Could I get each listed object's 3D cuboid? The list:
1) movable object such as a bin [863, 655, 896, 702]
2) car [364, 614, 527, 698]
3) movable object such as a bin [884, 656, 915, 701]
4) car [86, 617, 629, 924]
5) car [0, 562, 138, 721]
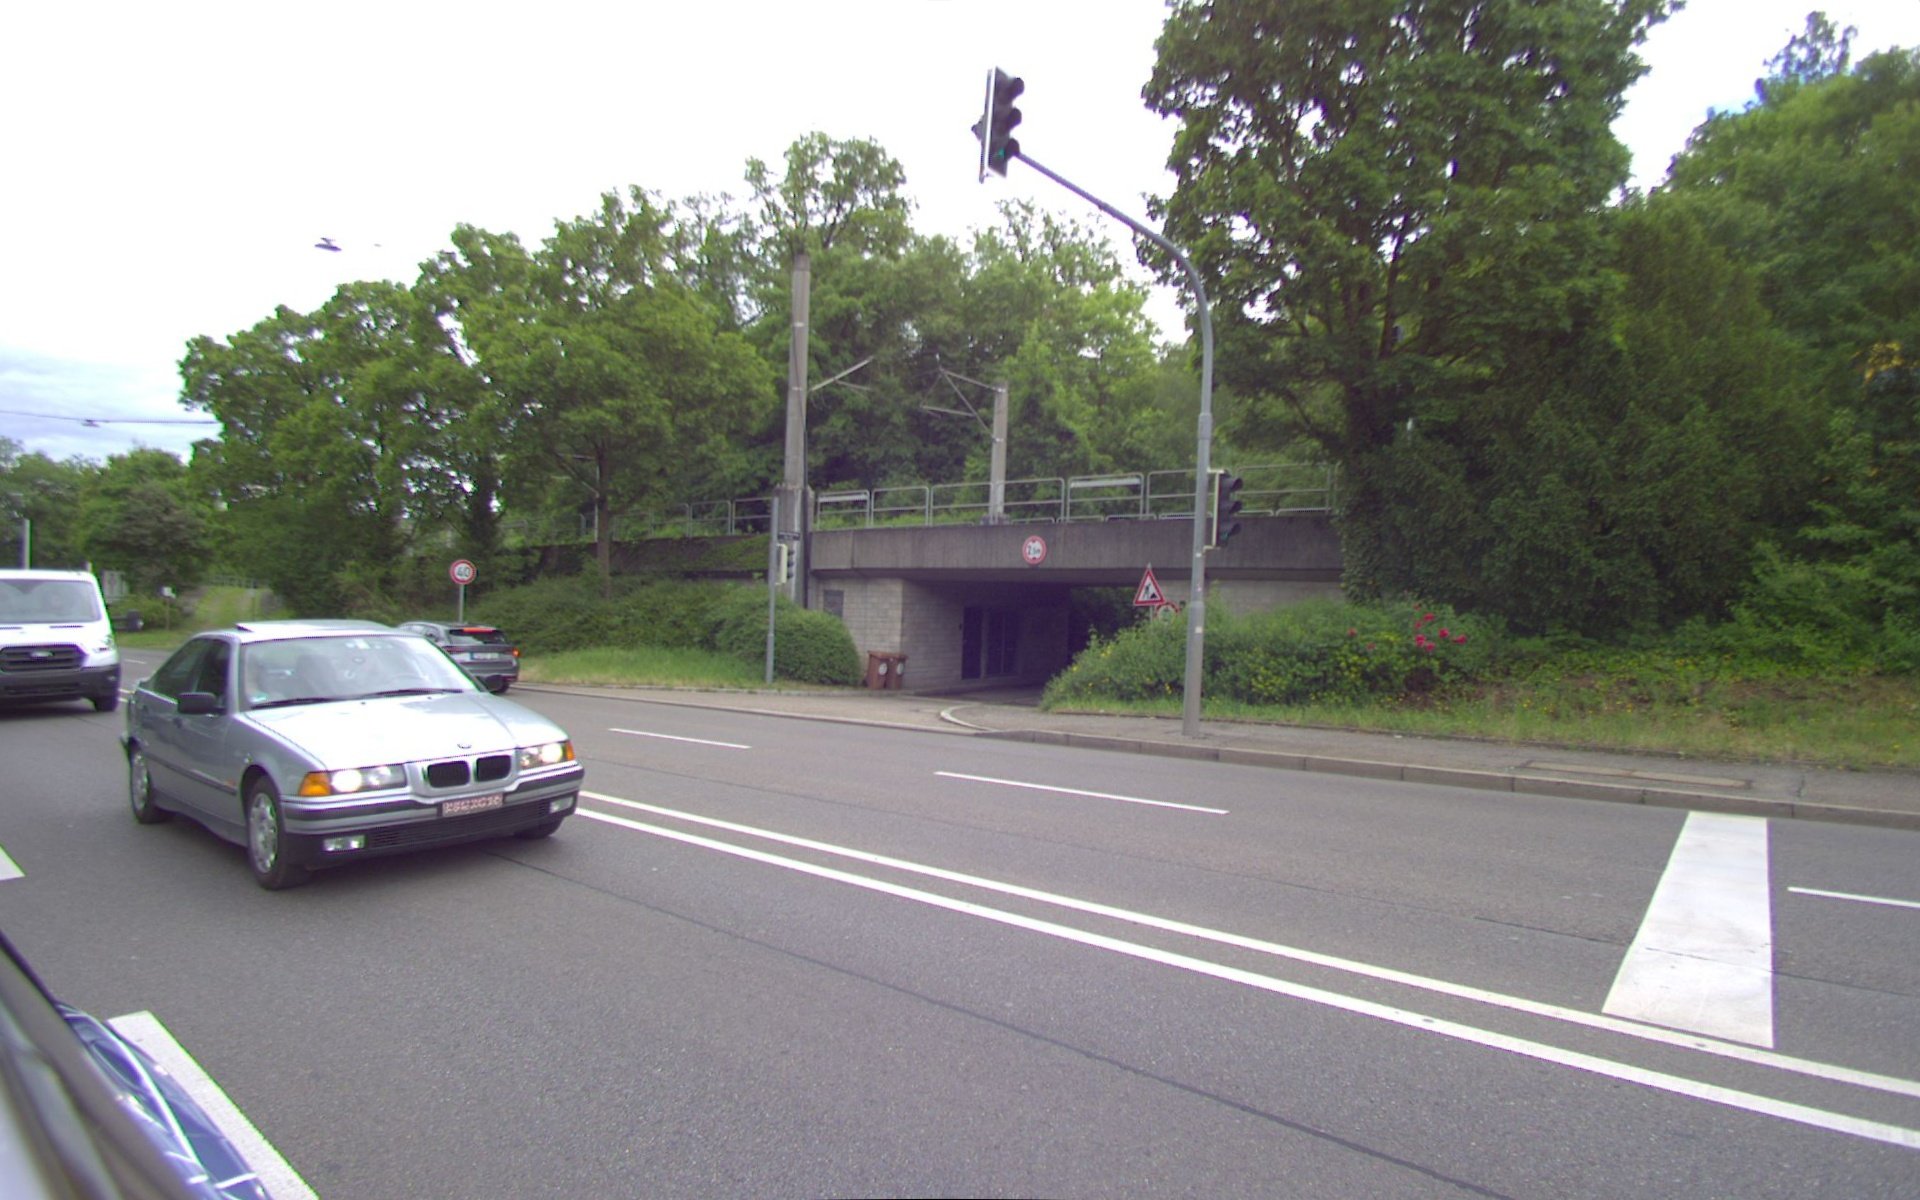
[{"bbox_3d":[-1.979,1.916,24.835,0.563,1.107,0.537,-1,-3,39],"label":"movable object such as a bin"},{"bbox_3d":[-10.450,1.065,20.463,3.748,1.552,1.656,-1,-2,41],"label":"car"},{"bbox_3d":[-1.503,1.948,25.156,0.563,1.085,0.537,-1,-3,39],"label":"movable object such as a bin"},{"bbox_3d":[-4.273,0.825,6.811,4.611,1.404,1.735,-1,-2,40],"label":"car"},{"bbox_3d":[-15.320,0.601,16.064,6.662,2.142,2.225,-1,-1,39],"label":"car"}]
